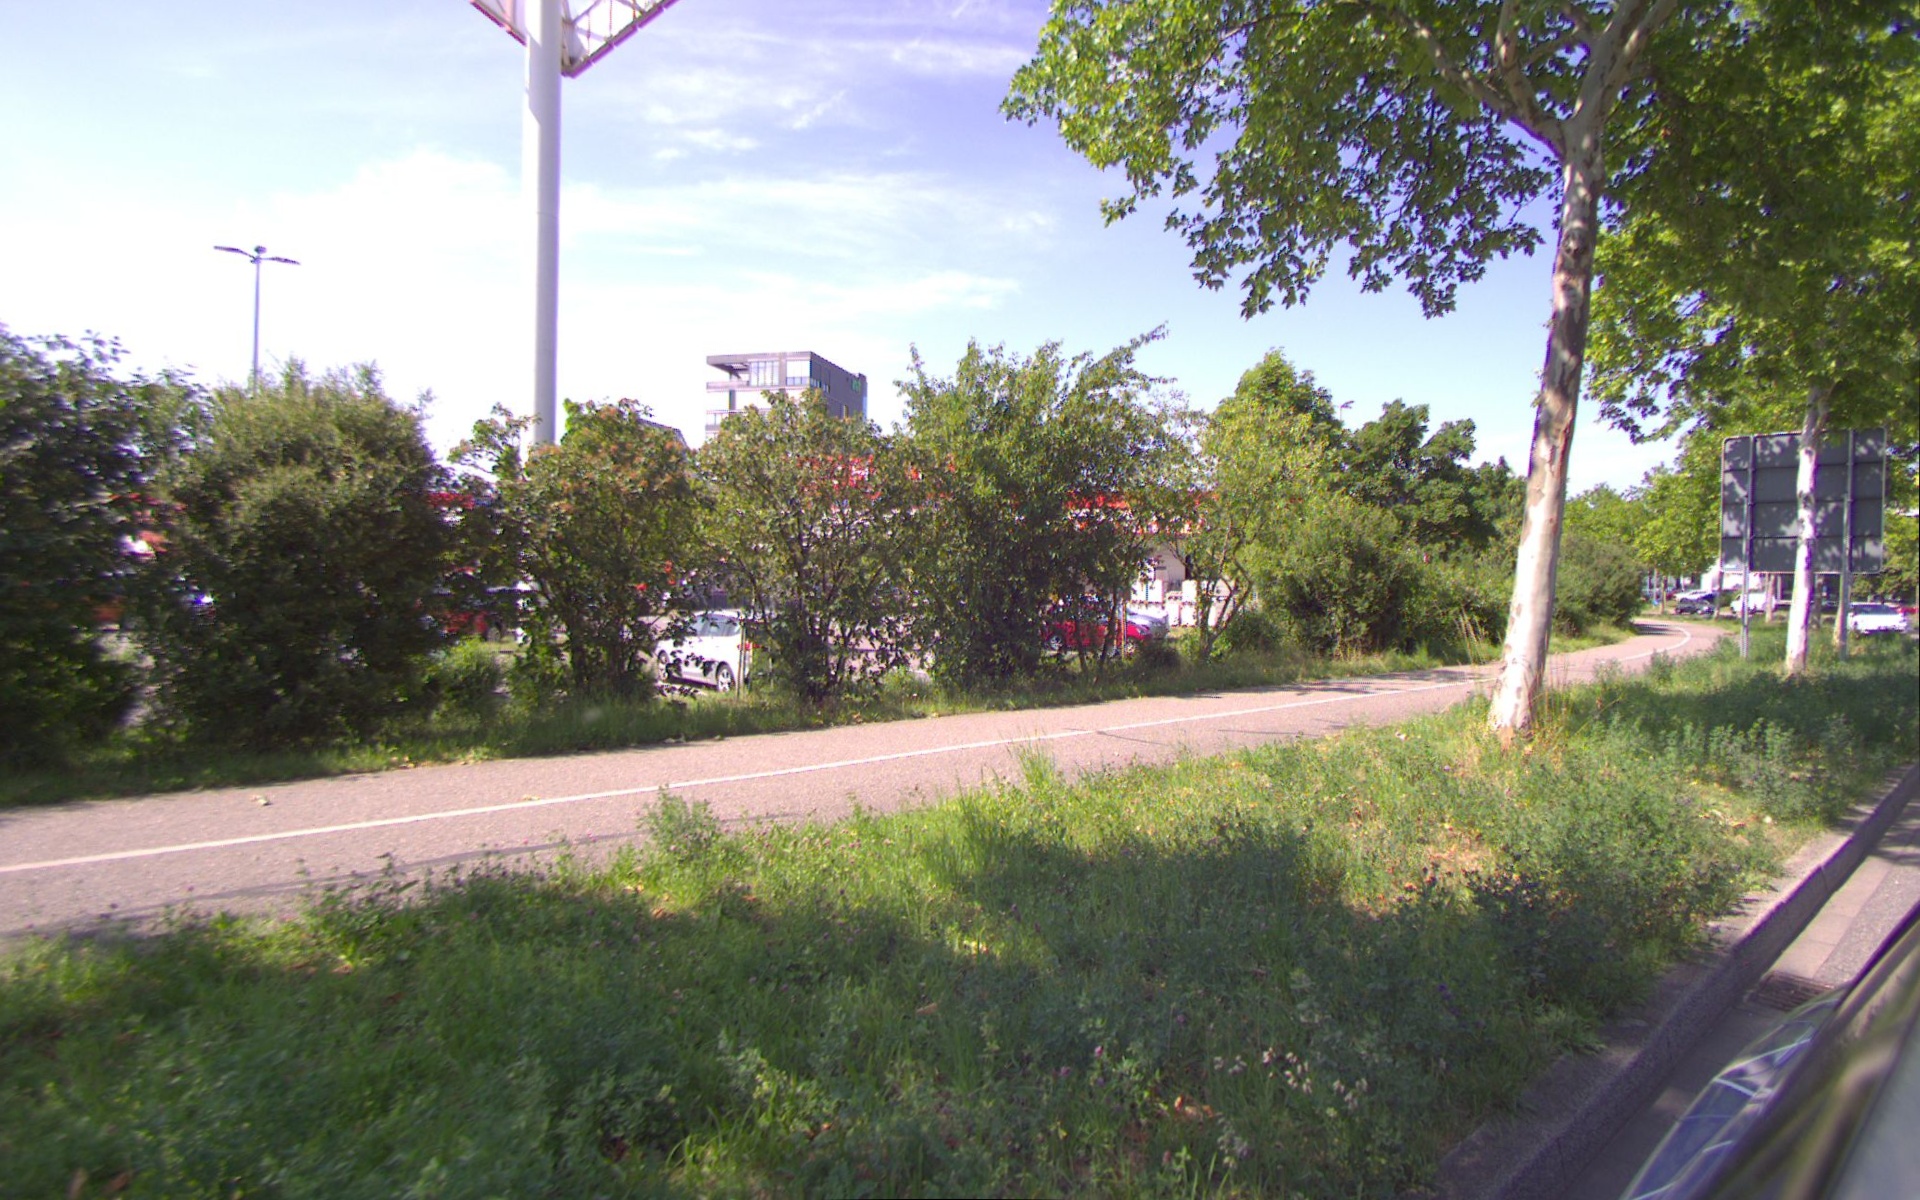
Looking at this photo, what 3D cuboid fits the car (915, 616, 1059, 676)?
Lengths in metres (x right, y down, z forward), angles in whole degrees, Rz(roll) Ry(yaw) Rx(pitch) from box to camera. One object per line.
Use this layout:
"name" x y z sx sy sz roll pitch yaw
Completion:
"car" 0.635 1.115 25.898 1.711 1.238 3.588 -1 2 -41

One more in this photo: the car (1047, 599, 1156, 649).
"car" 4.715 0.789 33.592 3.437 1.545 1.594 -1 1 15

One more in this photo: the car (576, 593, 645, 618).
"car" -15.736 0.230 45.729 1.496 1.073 3.174 -1 0 13

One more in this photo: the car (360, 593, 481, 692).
"car" -9.513 0.666 17.747 1.175 1.473 3.158 -1 2 -41

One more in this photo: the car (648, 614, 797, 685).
"car" -4.845 0.924 20.297 1.175 1.240 3.966 -1 0 -41

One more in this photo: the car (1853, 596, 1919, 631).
"car" 43.885 0.613 47.927 1.812 1.540 4.158 0 1 33

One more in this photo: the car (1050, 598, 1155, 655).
"car" 4.740 0.854 33.616 3.233 1.682 1.597 3 1 16

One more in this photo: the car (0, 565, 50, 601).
"car" -54.055 -0.949 57.132 1.508 1.971 3.845 0 1 14

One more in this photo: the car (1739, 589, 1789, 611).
"car" 74.462 -0.023 93.815 1.971 2.039 4.496 0 0 14

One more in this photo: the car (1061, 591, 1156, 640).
"car" 5.302 0.534 35.921 3.190 1.630 1.532 -1 1 15
